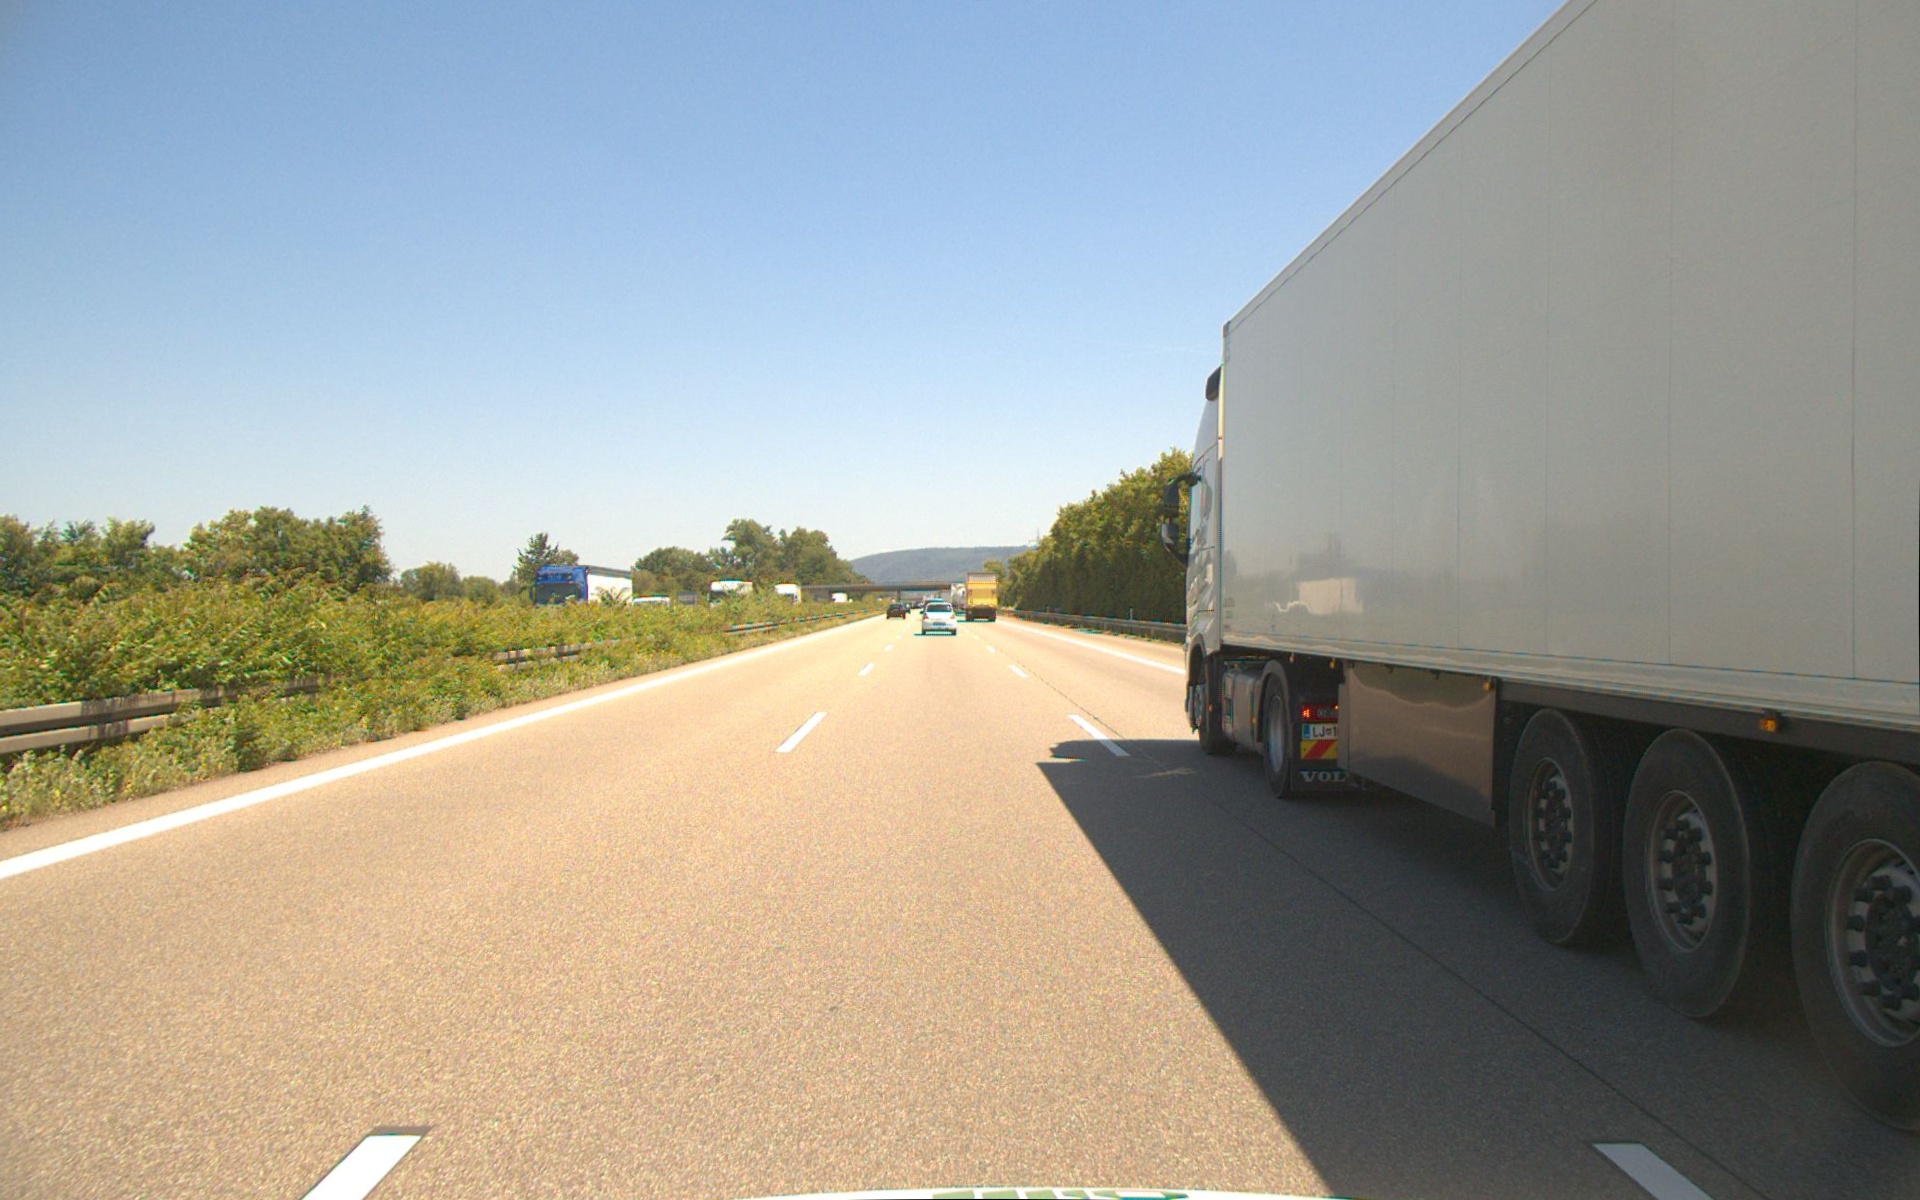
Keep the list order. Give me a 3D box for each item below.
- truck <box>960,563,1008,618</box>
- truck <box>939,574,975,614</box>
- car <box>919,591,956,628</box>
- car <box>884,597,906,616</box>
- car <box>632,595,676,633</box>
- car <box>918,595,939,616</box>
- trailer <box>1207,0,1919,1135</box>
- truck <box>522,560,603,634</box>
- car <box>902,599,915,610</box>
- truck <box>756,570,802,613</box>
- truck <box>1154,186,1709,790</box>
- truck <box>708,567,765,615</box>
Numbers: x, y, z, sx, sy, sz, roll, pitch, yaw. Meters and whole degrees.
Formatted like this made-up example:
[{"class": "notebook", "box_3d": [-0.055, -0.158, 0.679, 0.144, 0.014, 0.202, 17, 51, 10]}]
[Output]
[{"class": "truck", "box_3d": [1.972, -0.804, 141.861, 3.792, 4.421, 13.859, 1, 0, 0]}, {"class": "truck", "box_3d": [-0.393, -0.702, 201.703, 4.184, 4.733, 13.858, 0, 0, 0]}, {"class": "car", "box_3d": [-1.077, 0.438, 79.385, 1.697, 1.713, 3.999, -1, 1, -1]}, {"class": "car", "box_3d": [-5.993, 0.582, 153.270, 1.953, 1.742, 3.999, 0, 0, -1]}, {"class": "car", "box_3d": [-17.306, 0.775, 93.615, 1.802, 2.049, 3.999, 0, 0, -1]}, {"class": "car", "box_3d": [-2.688, 0.428, 141.890, 1.750, 1.742, 3.999, 1, 0, -1]}, {"class": "trailer", "box_3d": [4.051, -0.796, 8.532, 3.153, 4.421, 13.625, 1, 0, -1]}, {"class": "truck", "box_3d": [-21.649, -0.164, 90.374, 3.070, 3.899, 5.832, -1, 0, -1]}, {"class": "car", "box_3d": [-7.231, 0.620, 231.457, 1.758, 1.578, 3.999, 0, 0, -1]}, {"class": "truck", "box_3d": [-20.773, -1.024, 190.528, 3.792, 4.746, 13.859, 1, 0, 0]}, {"class": "truck", "box_3d": [3.891, -0.842, 15.549, 3.153, 4.421, 6.588, 1, 0, -2]}, {"class": "truck", "box_3d": [-22.070, -0.889, 163.887, 3.792, 4.421, 13.859, 1, 0, 0]}]
